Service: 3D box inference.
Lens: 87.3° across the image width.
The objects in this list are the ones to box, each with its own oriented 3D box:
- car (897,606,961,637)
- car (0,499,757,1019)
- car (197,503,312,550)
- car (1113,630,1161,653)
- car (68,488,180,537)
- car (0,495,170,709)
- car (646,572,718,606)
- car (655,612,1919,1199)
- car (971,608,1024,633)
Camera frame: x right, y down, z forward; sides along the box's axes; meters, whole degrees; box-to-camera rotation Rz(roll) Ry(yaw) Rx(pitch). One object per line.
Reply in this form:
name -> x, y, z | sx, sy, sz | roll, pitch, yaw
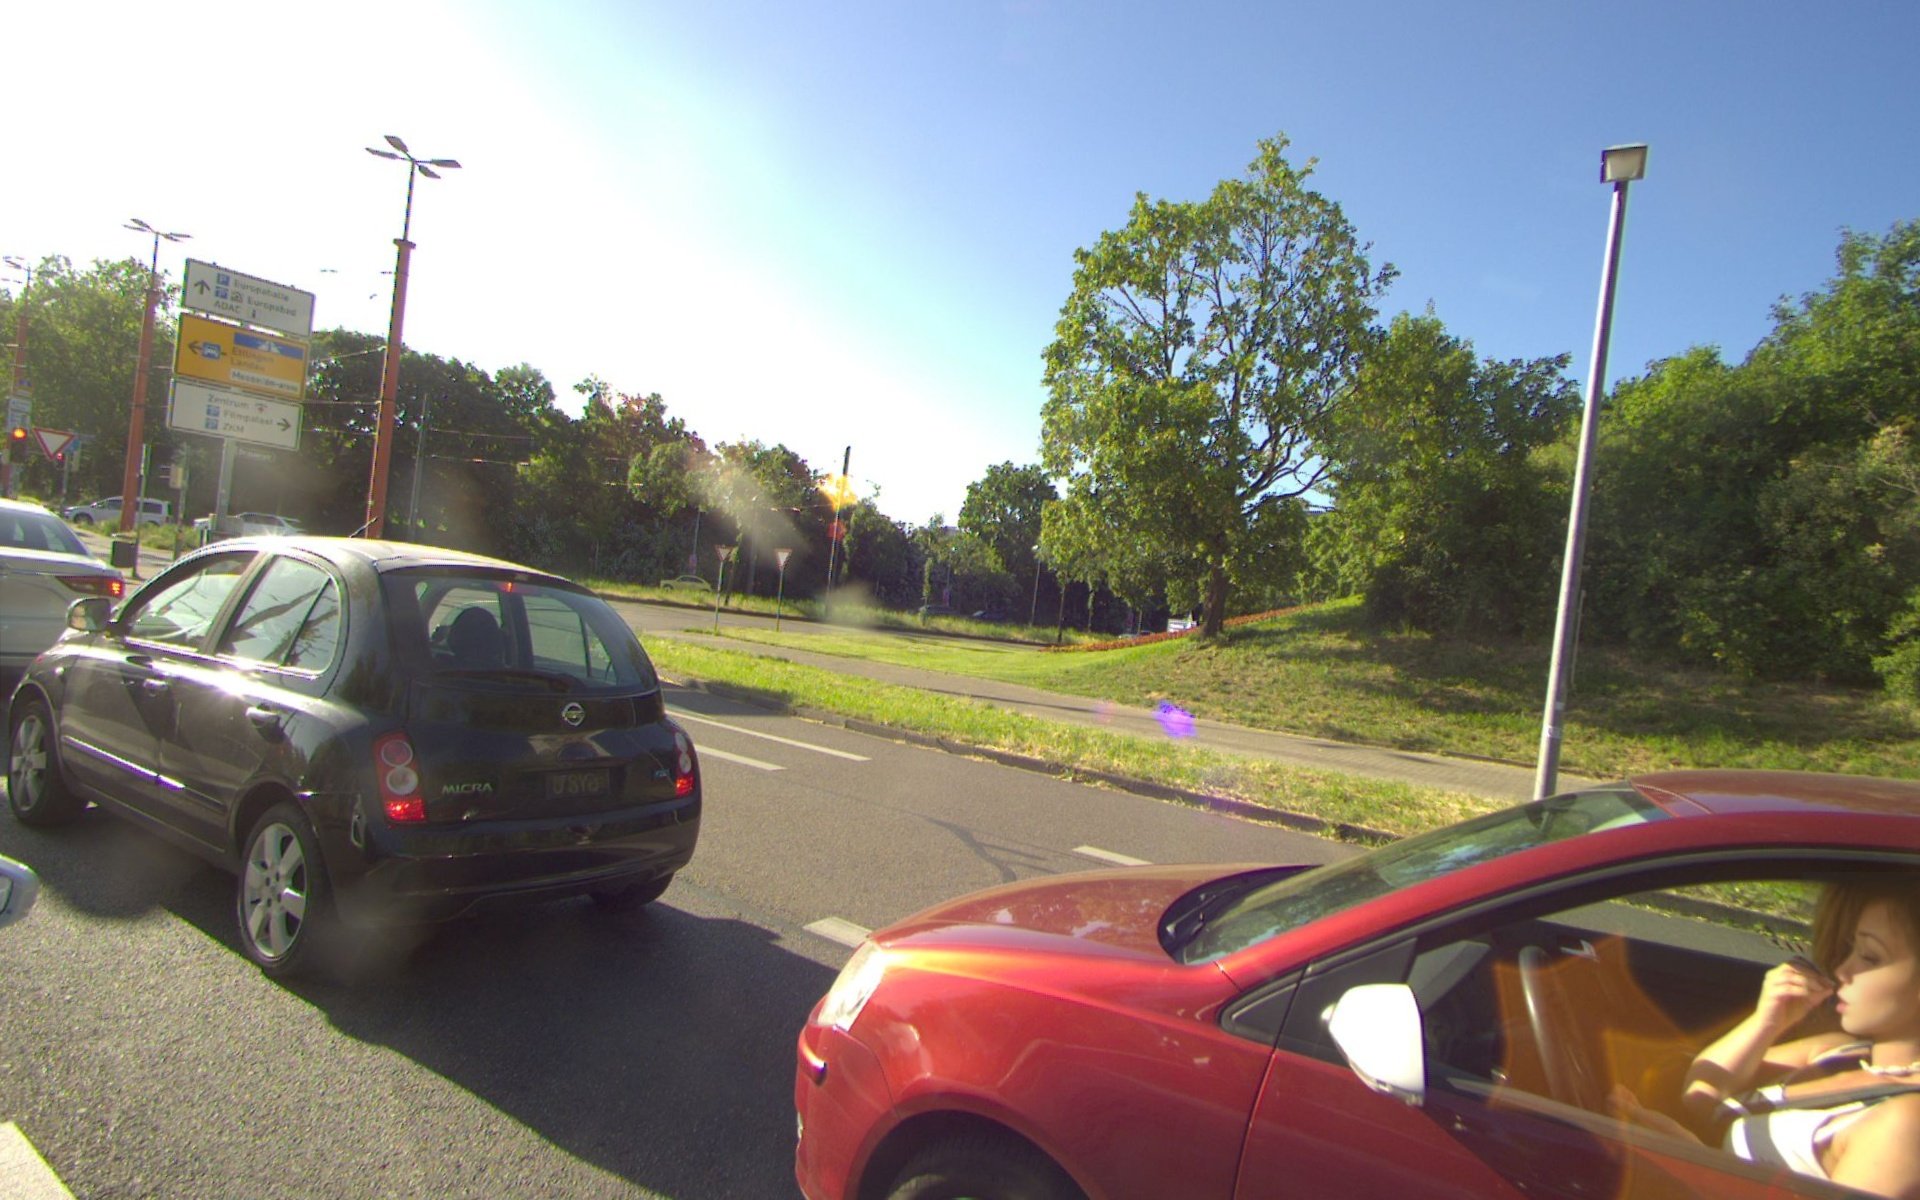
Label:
car -> -2.174, 1.546, 72.021 | 4.174, 1.701, 1.643 | 8, -1, -31
car -> -2.804, 0.467, 4.622 | 3.385, 1.457, 1.579 | 6, -2, 32
car -> -36.276, -3.731, 51.880 | 4.629, 1.644, 1.643 | 8, -1, -32
car -> 15.189, 3.579, 86.343 | 3.888, 1.474, 1.643 | 8, -1, -32
car -> -42.702, -4.434, 51.493 | 4.092, 1.771, 1.642 | 8, -1, -33
car -> -8.376, -0.175, 8.077 | 4.256, 1.457, 1.802 | 6, -2, 33
car -> -18.404, -0.725, 66.603 | 4.176, 1.701, 1.643 | 8, -1, -32
car -> 1.339, 1.002, 1.866 | 3.629, 1.477, 1.579 | 6, -2, 32
car -> 3.008, 1.615, 80.168 | 3.887, 1.474, 1.643 | 8, -1, -31
